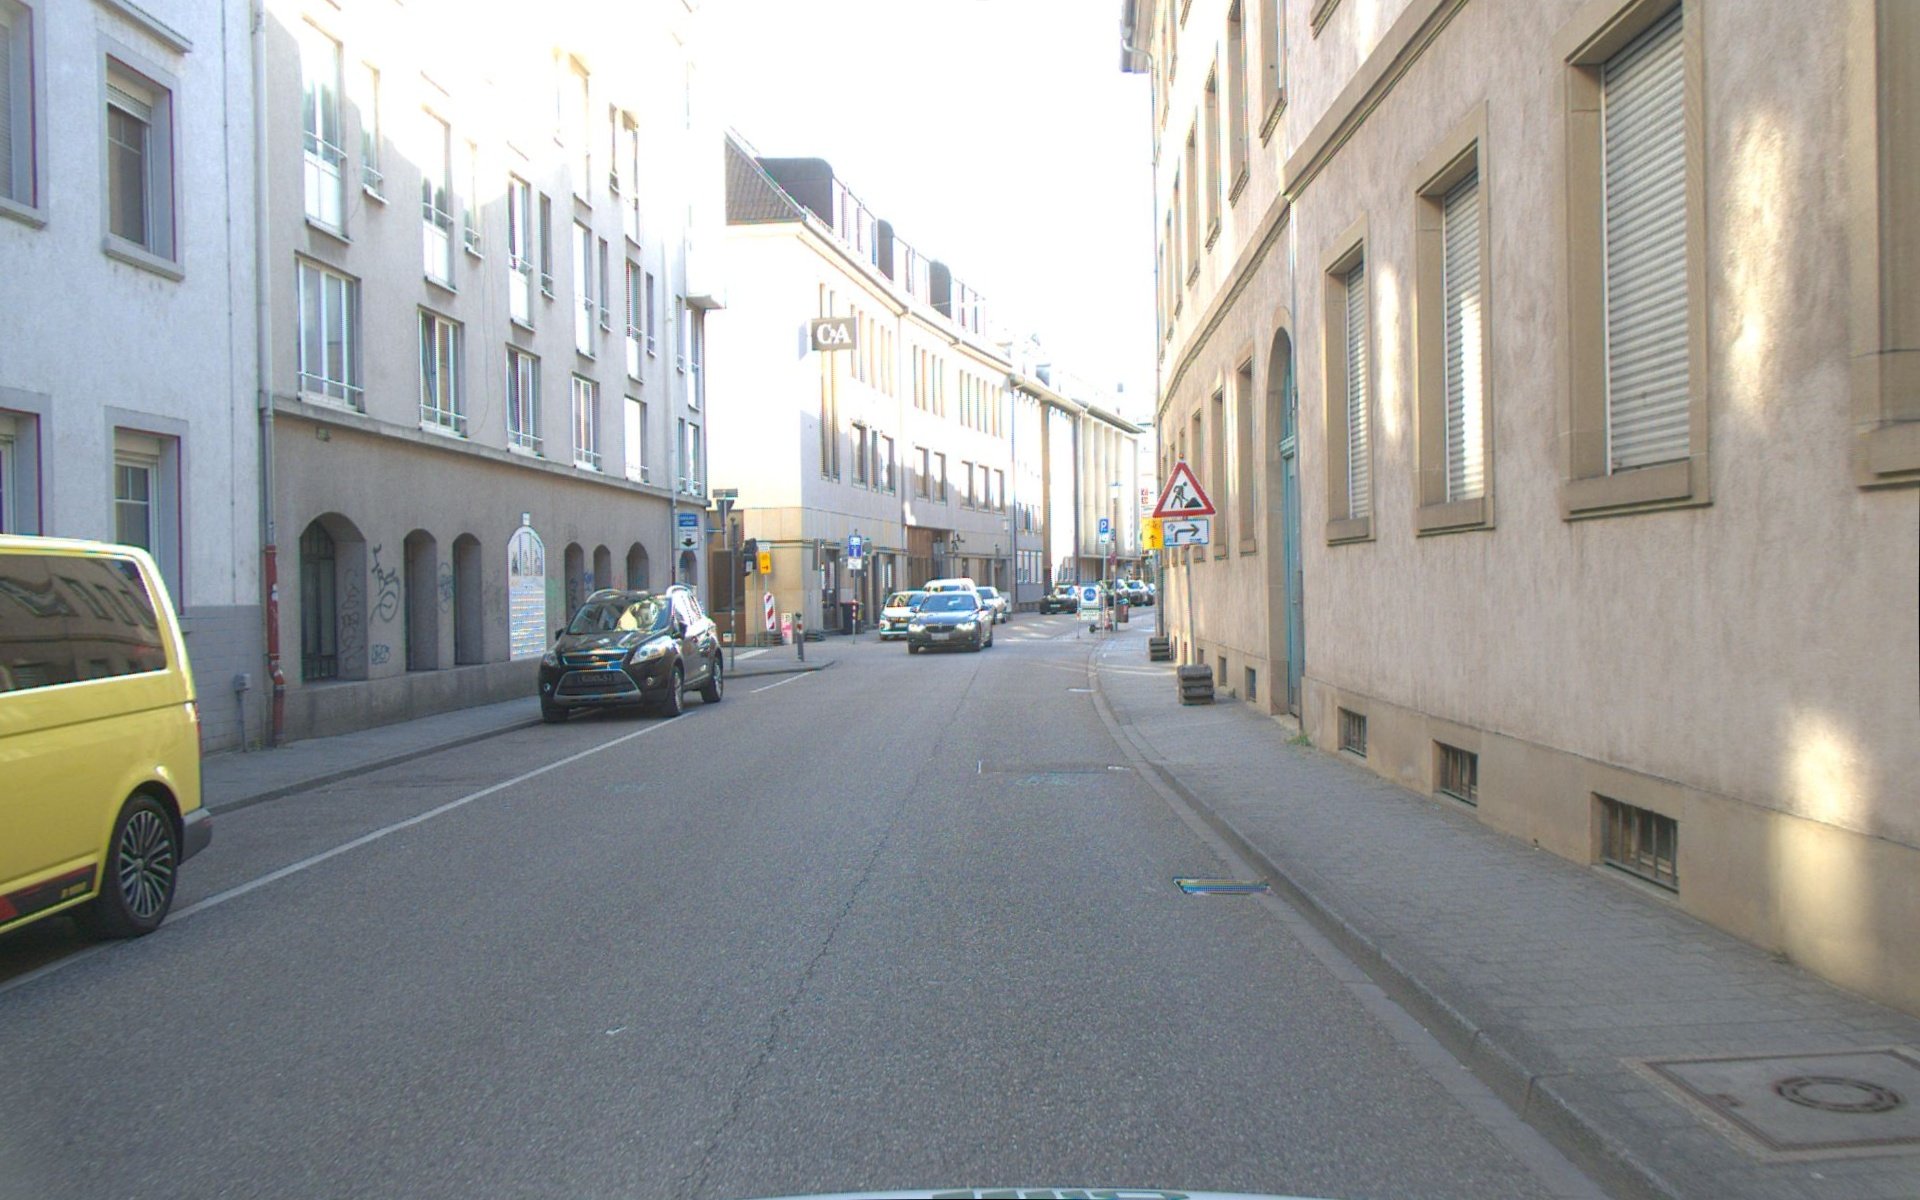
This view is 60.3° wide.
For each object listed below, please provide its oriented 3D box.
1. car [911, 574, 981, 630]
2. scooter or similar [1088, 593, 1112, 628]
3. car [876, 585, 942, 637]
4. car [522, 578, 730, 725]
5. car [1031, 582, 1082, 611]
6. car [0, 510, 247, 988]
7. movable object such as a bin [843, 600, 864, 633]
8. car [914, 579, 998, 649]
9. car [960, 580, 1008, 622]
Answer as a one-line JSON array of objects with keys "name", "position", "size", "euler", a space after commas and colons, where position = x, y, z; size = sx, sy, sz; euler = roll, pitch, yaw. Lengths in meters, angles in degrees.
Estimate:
[{"name": "car", "position": [-0.462, 0.044, 59.276], "size": [1.635, 1.850, 4.556], "euler": [-3, 0, 10]}, {"name": "scooter or similar", "position": [4.612, 0.343, 54.423], "size": [0.754, 1.156, 0.269], "euler": [1, 0, 7]}, {"name": "car", "position": [-1.607, 0.322, 53.483], "size": [1.635, 1.533, 3.796], "euler": [-3, 0, 5]}, {"name": "car", "position": [-4.487, 0.626, 22.875], "size": [1.704, 1.740, 4.193], "euler": [-4, 1, 3]}, {"name": "car", "position": [5.021, -0.193, 85.717], "size": [1.841, 1.355, 4.104], "euler": [-1, 1, 14]}, {"name": "car", "position": [-4.762, 0.646, 6.373], "size": [1.842, 1.899, 4.863], "euler": [-4, 1, 0]}, {"name": "movable object such as a bin", "position": [-3.516, 0.551, 54.798], "size": [0.596, 1.079, 0.713], "euler": [1, 0, 2]}, {"name": "car", "position": [-0.155, 0.317, 40.823], "size": [1.681, 1.605, 4.186], "euler": [-1, 0, -5]}, {"name": "car", "position": [0.983, 0.033, 65.367], "size": [1.244, 1.533, 3.405], "euler": [-3, 0, 11]}]
